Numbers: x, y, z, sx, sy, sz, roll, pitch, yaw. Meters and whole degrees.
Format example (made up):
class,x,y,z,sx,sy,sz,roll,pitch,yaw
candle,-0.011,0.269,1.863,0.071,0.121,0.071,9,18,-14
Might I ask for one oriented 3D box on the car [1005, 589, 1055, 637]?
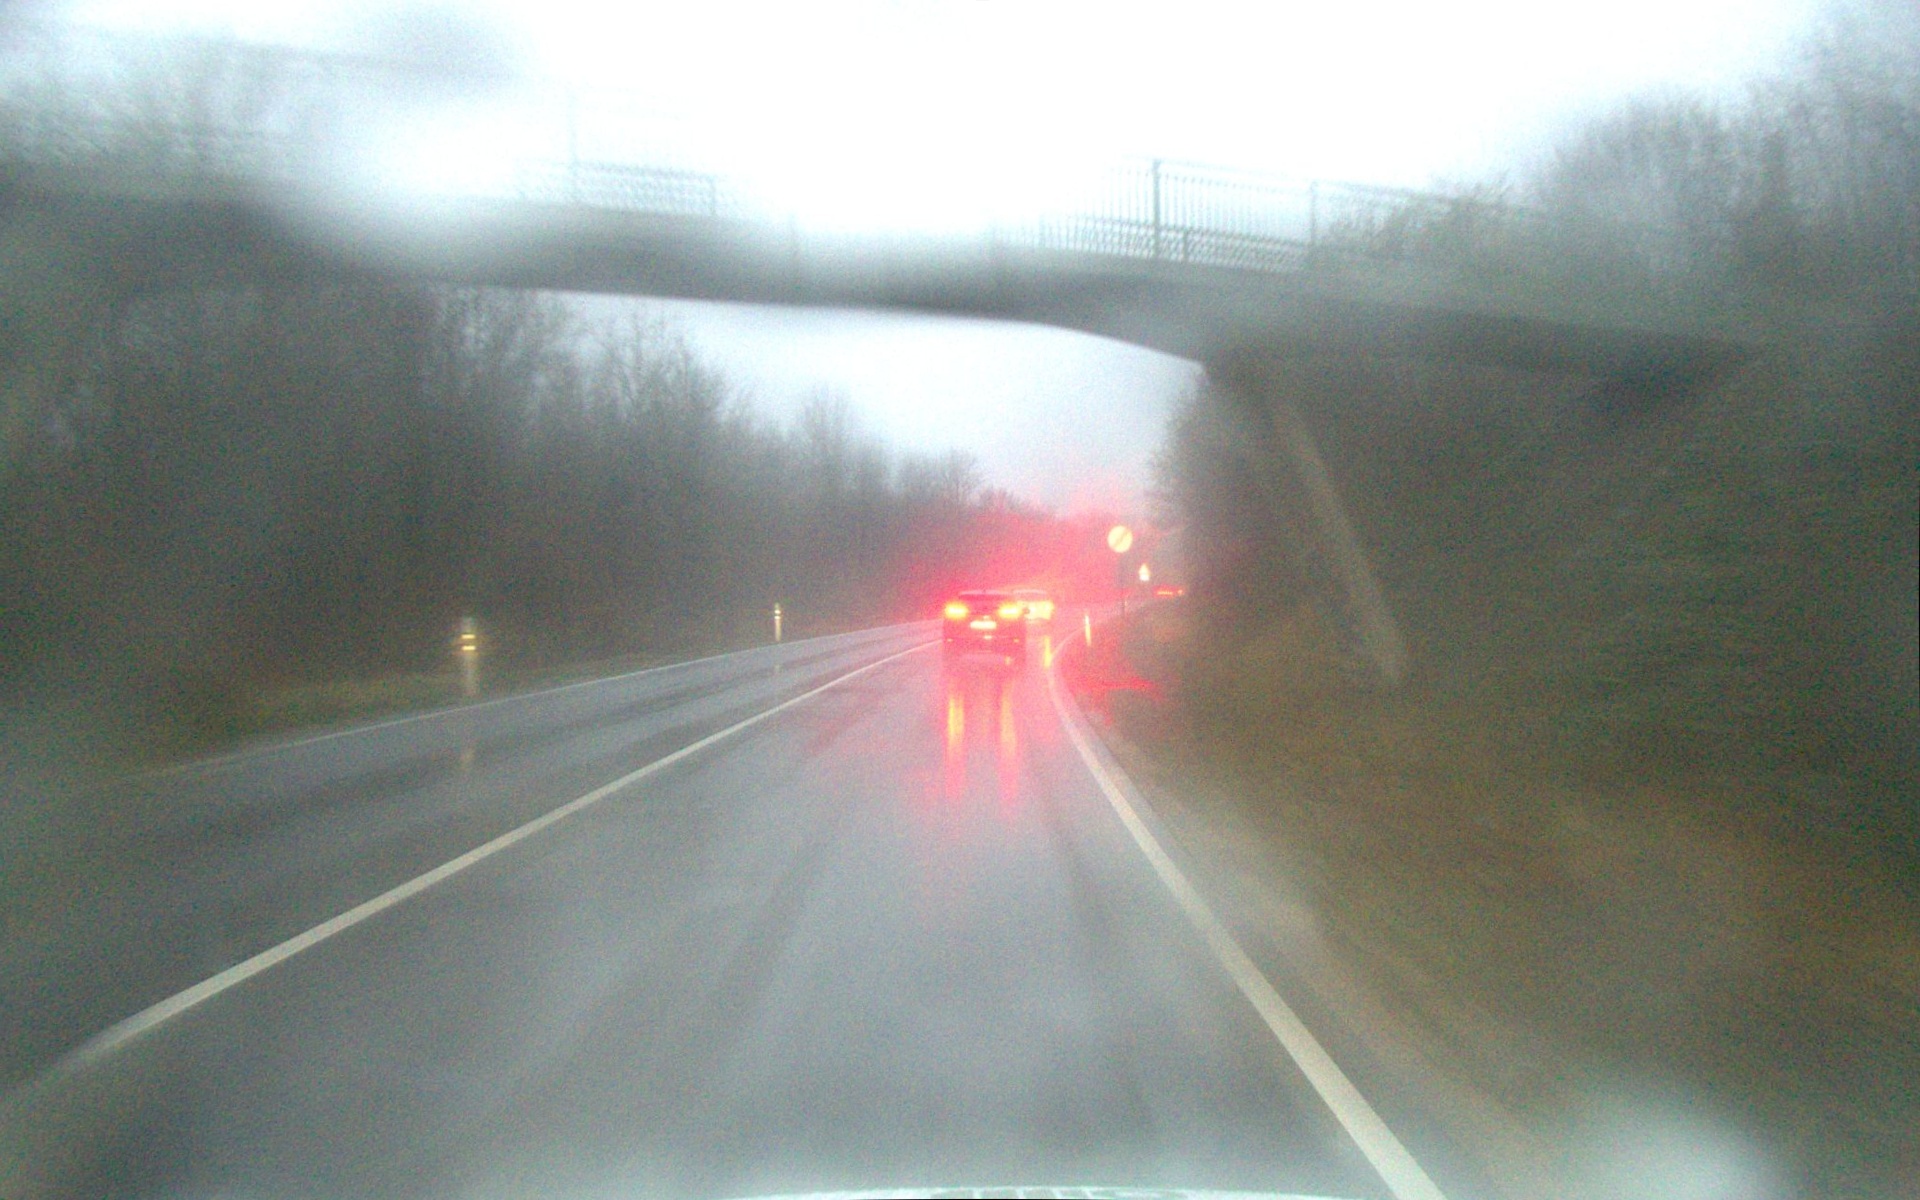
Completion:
class,x,y,z,sx,sy,sz,roll,pitch,yaw
car,2.621,0.445,61.173,1.643,1.704,4.100,-1,0,5

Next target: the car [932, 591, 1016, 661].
class,x,y,z,sx,sy,sz,roll,pitch,yaw
car,0.359,0.518,35.806,1.643,1.414,4.099,-1,0,3
